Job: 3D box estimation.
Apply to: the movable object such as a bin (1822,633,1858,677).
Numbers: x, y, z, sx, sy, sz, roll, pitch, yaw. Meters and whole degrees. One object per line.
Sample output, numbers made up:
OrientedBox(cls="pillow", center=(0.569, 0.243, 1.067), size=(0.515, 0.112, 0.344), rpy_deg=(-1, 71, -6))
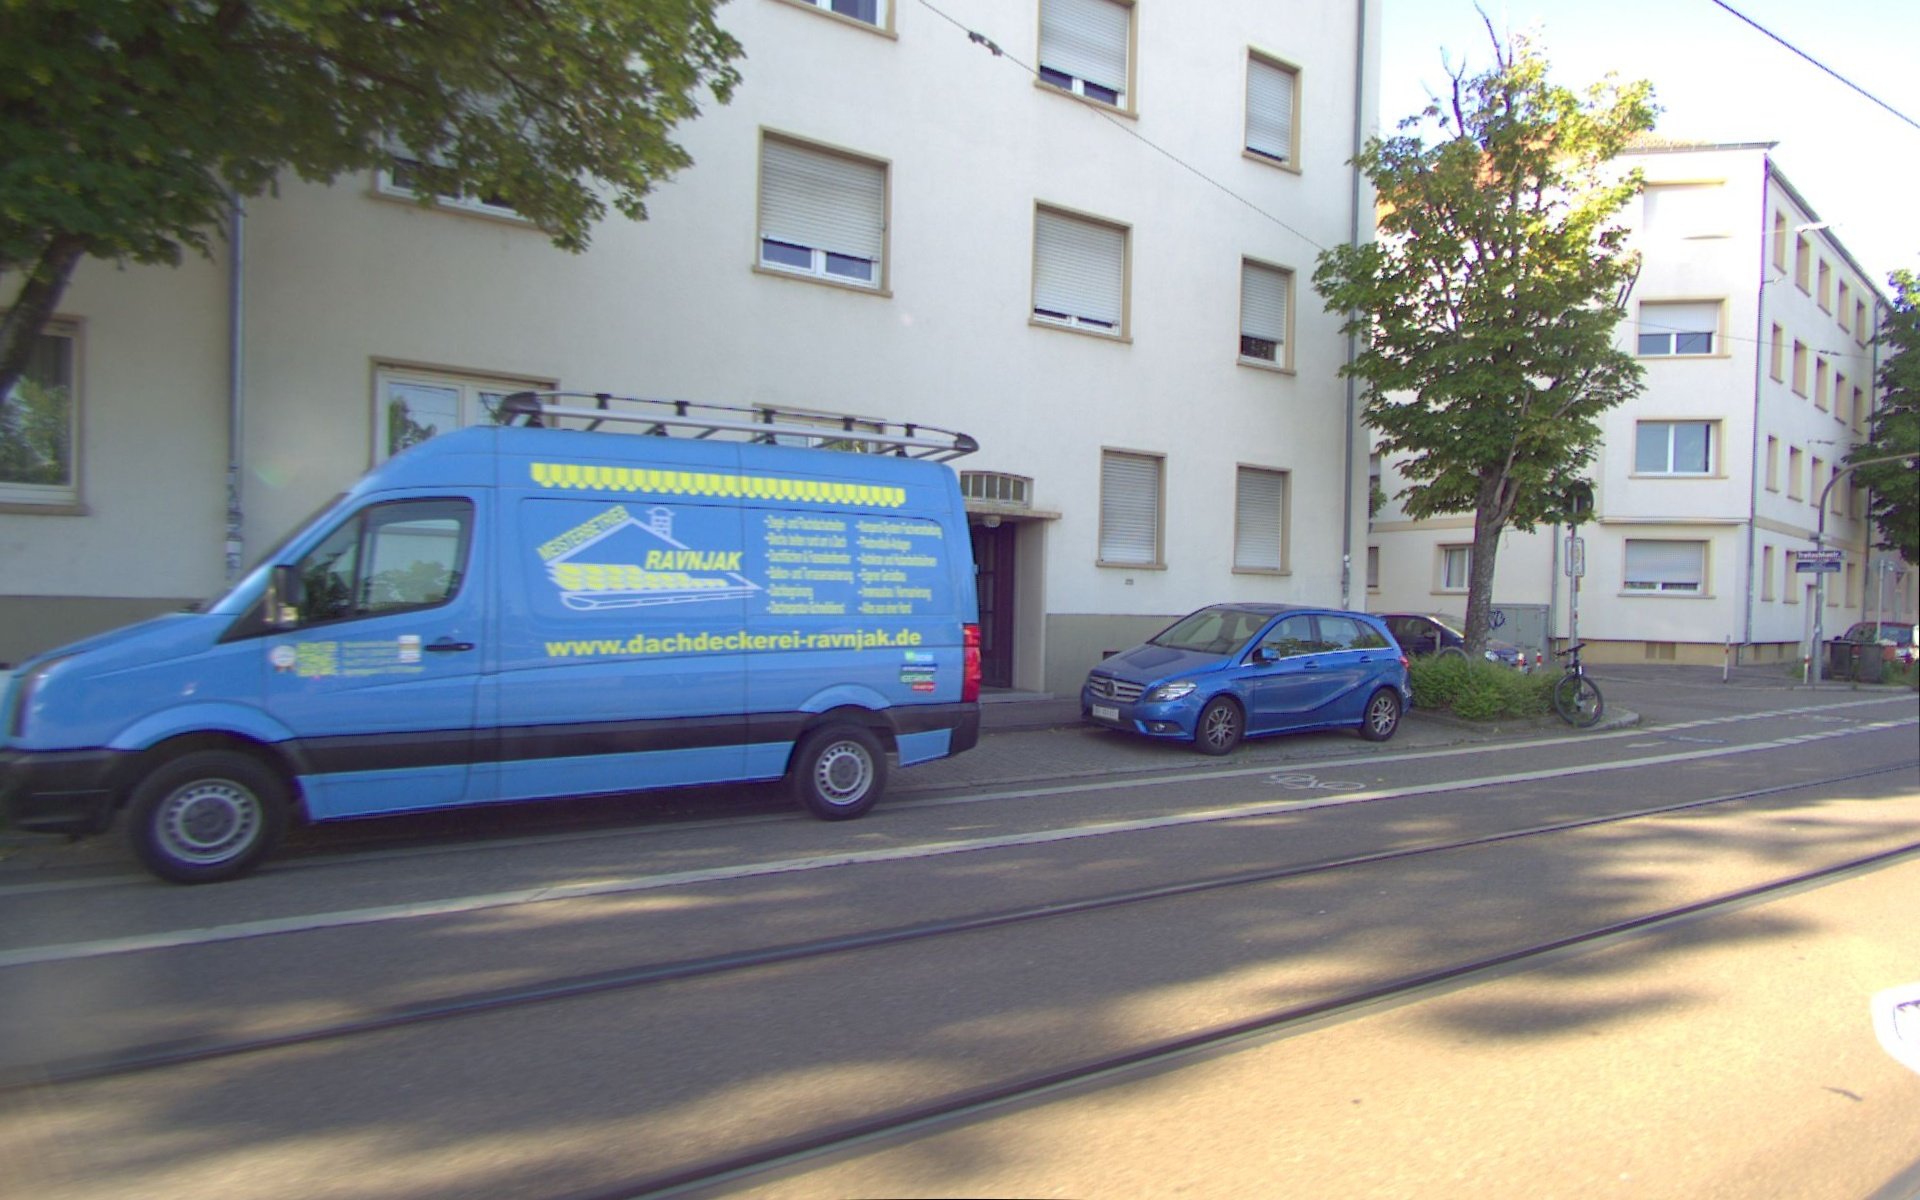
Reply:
OrientedBox(cls="movable object such as a bin", center=(20.596, 1.281, 23.511), size=(0.653, 1.001, 0.481), rpy_deg=(1, 2, -37))

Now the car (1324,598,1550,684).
OrientedBox(cls="car", center=(9.730, 0.780, 20.759), size=(1.749, 1.477, 3.863), rpy_deg=(1, 1, -33))

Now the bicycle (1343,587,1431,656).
OrientedBox(cls="bicycle", center=(8.212, 0.397, 19.361), size=(0.394, 1.245, 1.490), rpy_deg=(5, -1, -37))

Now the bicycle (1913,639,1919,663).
OrientedBox(cls="bicycle", center=(34.394, 1.834, 34.659), size=(0.473, 0.836, 2.109), rpy_deg=(1, 1, -39))

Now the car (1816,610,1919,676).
OrientedBox(cls="car", center=(24.371, 1.104, 26.617), size=(3.962, 1.550, 1.677), rpy_deg=(1, 1, -36))

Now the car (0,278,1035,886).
OrientedBox(cls="car", center=(-2.564, -0.038, 6.954), size=(5.957, 2.864, 2.008), rpy_deg=(2, 1, -29))

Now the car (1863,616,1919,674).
OrientedBox(cls="car", center=(27.996, 1.295, 29.491), size=(3.829, 1.550, 1.770), rpy_deg=(1, 1, -42))

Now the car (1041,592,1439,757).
OrientedBox(cls="car", center=(3.365, 0.778, 11.810), size=(4.587, 1.581, 1.782), rpy_deg=(2, 1, -30))

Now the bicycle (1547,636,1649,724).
OrientedBox(cls="bicycle", center=(9.080, 1.098, 14.262), size=(2.012, 1.149, 0.508), rpy_deg=(1, 1, -37))

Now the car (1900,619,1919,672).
OrientedBox(cls="car", center=(31.300, 1.461, 32.141), size=(3.706, 1.635, 1.575), rpy_deg=(1, 1, -44))

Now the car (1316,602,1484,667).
OrientedBox(cls="car", center=(12.271, 0.911, 28.243), size=(1.886, 1.550, 3.966), rpy_deg=(1, 1, -31))

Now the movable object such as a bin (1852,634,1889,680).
OrientedBox(cls="movable object such as a bin", center=(20.943, 1.308, 23.101), size=(0.653, 1.001, 0.481), rpy_deg=(1, 2, -37))
